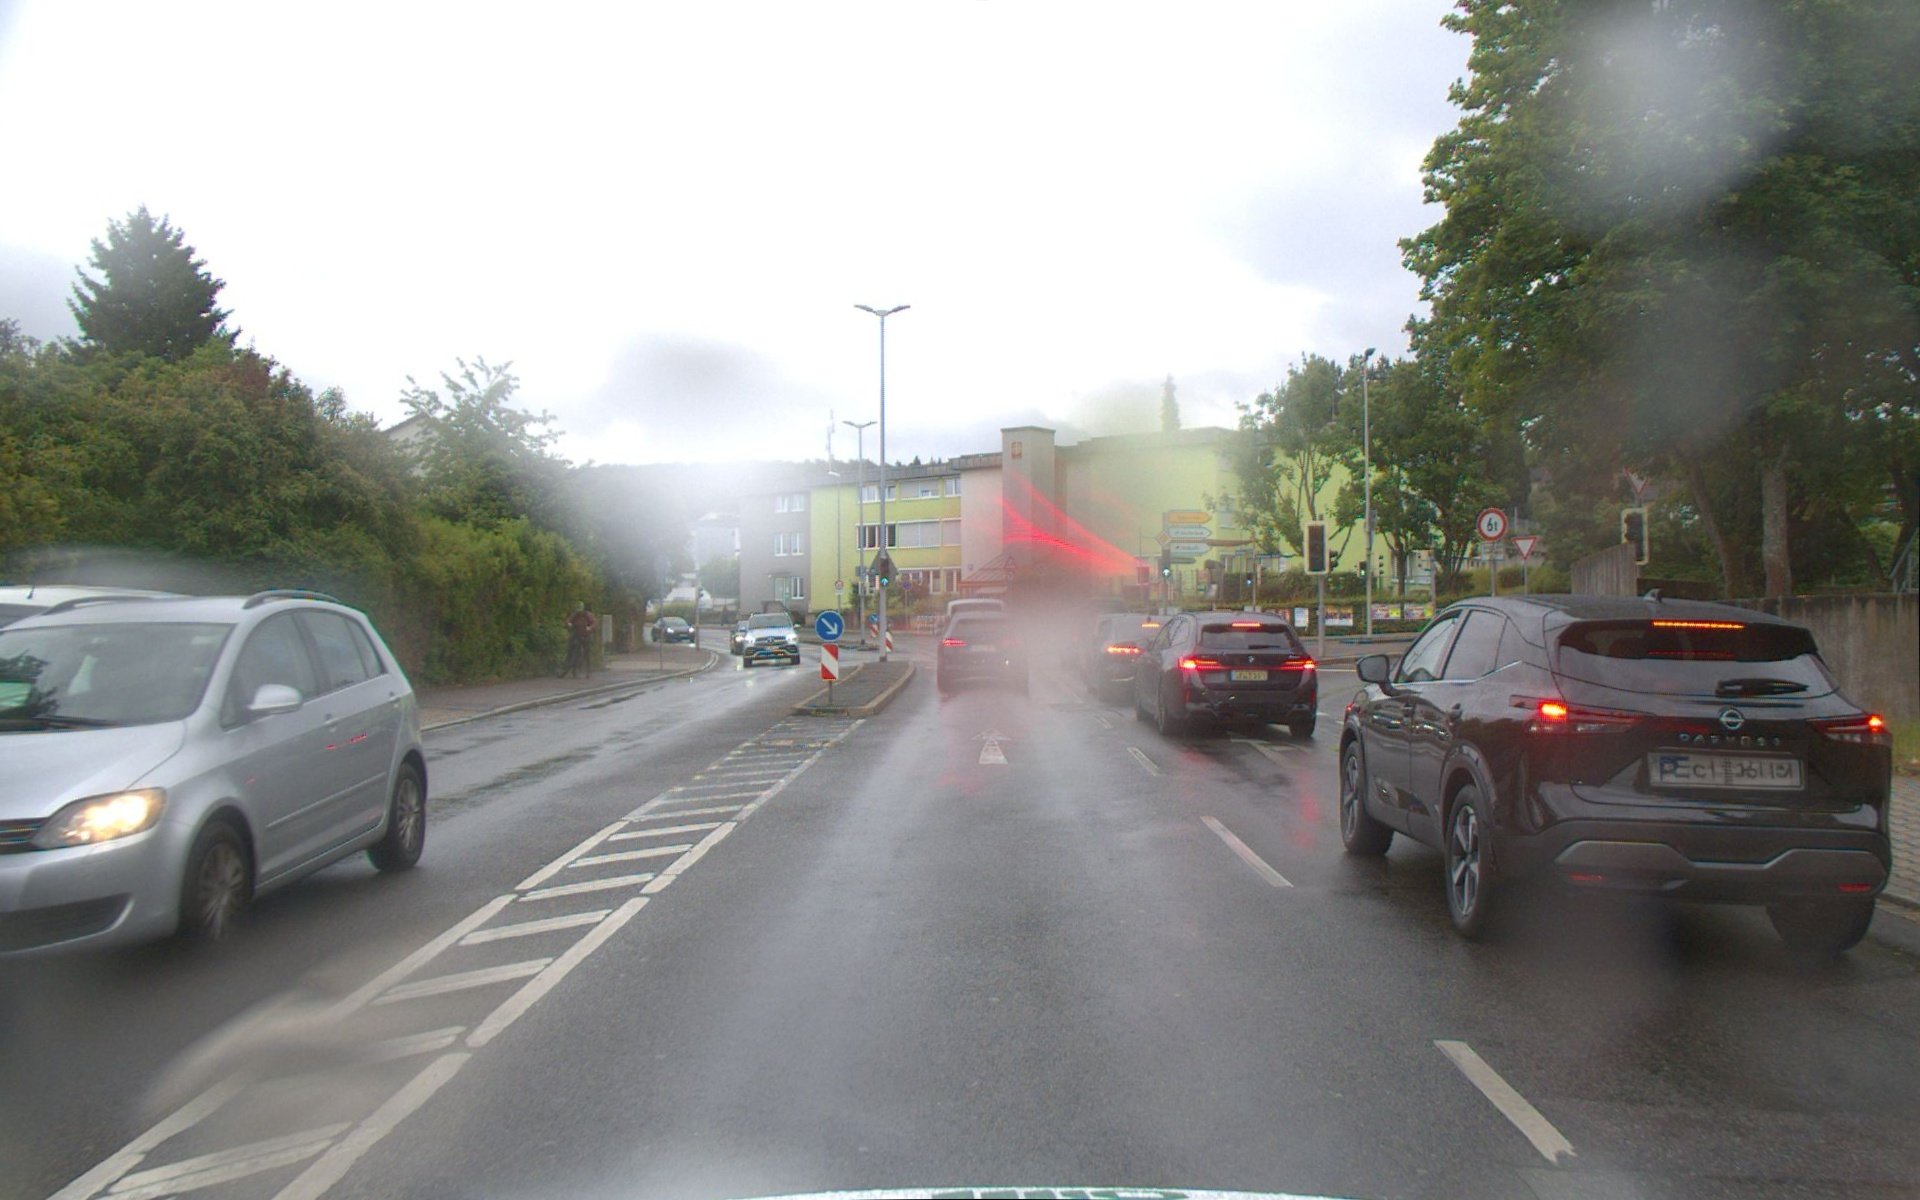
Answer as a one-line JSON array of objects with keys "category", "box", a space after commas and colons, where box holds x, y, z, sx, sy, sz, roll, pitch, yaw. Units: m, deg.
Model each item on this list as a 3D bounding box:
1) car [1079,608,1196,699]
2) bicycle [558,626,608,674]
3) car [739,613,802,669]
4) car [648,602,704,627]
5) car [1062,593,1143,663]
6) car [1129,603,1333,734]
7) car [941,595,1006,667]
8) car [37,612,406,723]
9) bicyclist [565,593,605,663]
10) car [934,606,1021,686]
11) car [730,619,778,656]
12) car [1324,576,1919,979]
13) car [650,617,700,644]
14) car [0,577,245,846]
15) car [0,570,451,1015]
[{"category": "car", "box": [3.099, 0.894, 29.566, 1.671, 1.452, 4.509, -1, 0, 1]}, {"category": "bicycle", "box": [-8.927, 1.179, 39.231, 0.732, 1.105, 1.989, 1, -1, -1]}, {"category": "car", "box": [-6.595, 1.404, 57.860, 2.001, 1.746, 4.477, -2, 0, -5]}, {"category": "car", "box": [-23.559, 1.225, 137.193, 4.325, 1.802, 1.991, -3, -1, -17]}, {"category": "car", "box": [3.733, 0.702, 43.996, 1.746, 1.764, 4.086, 1, 0, -1]}, {"category": "car", "box": [3.391, 0.804, 21.570, 1.866, 1.484, 4.778, -1, 0, 0]}, {"category": "car", "box": [0.368, 0.802, 45.300, 1.681, 1.877, 4.087, 1, 0, 0]}, {"category": "car", "box": [-10.361, 0.936, 23.473, 4.396, 1.386, 1.803, 1, 1, -6]}, {"category": "bicyclist", "box": [-8.894, 0.662, 39.275, 0.749, 1.640, 0.868, 0, -1, -1]}, {"category": "car", "box": [0.321, 0.918, 34.759, 1.648, 1.532, 3.772, -1, 0, -2]}, {"category": "car", "box": [-9.386, 1.673, 75.069, 1.957, 1.601, 3.990, 1, -1, -10]}, {"category": "car", "box": [3.272, 0.701, 8.953, 1.753, 1.631, 4.254, 1, 1, 2]}, {"category": "car", "box": [-17.438, 1.885, 101.016, 1.773, 1.515, 4.114, -3, -1, -28]}, {"category": "car", "box": [-7.227, 0.723, 12.800, 1.666, 1.737, 3.977, 3, 0, -2]}, {"category": "car", "box": [-3.913, 0.735, 8.094, 1.602, 1.607, 4.056, -3, 0, -2]}]
